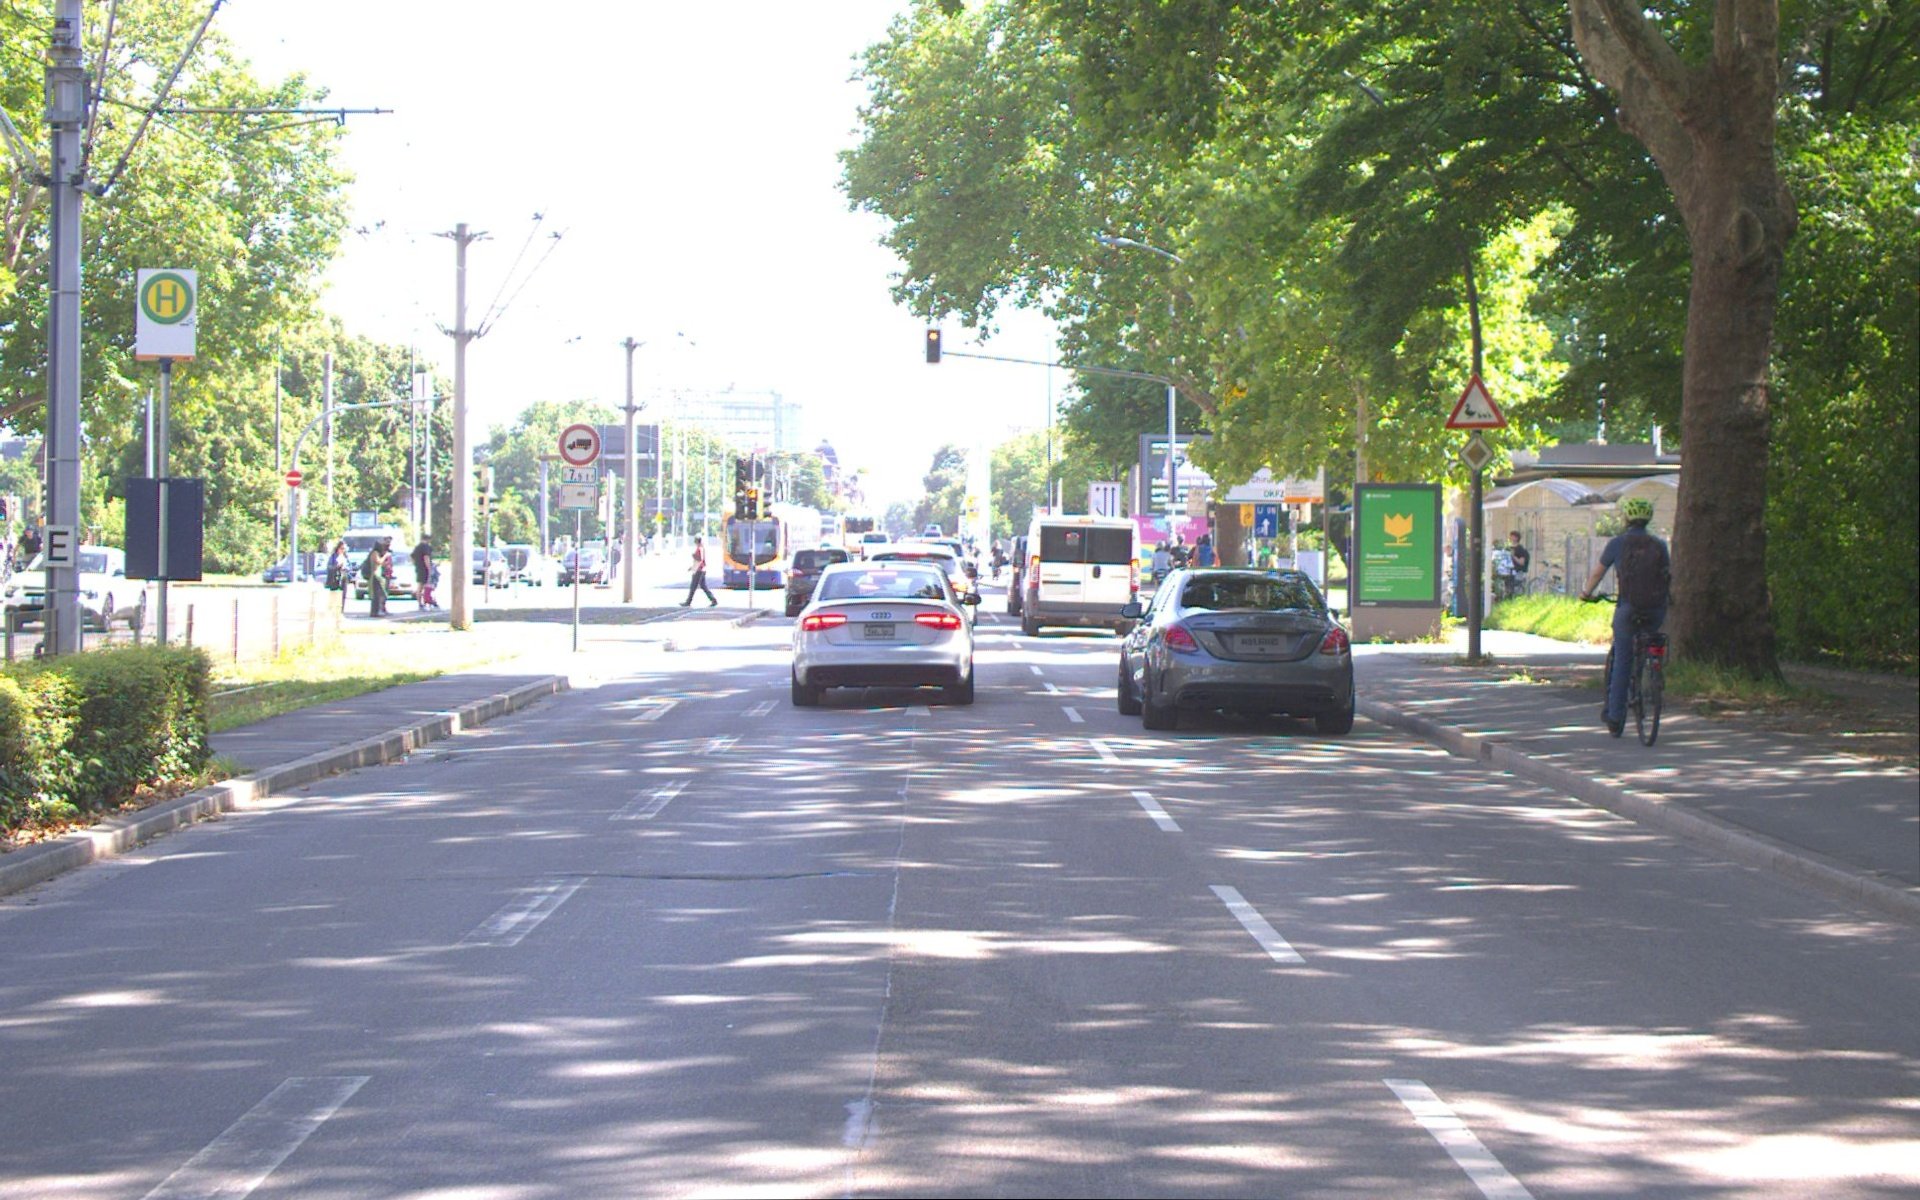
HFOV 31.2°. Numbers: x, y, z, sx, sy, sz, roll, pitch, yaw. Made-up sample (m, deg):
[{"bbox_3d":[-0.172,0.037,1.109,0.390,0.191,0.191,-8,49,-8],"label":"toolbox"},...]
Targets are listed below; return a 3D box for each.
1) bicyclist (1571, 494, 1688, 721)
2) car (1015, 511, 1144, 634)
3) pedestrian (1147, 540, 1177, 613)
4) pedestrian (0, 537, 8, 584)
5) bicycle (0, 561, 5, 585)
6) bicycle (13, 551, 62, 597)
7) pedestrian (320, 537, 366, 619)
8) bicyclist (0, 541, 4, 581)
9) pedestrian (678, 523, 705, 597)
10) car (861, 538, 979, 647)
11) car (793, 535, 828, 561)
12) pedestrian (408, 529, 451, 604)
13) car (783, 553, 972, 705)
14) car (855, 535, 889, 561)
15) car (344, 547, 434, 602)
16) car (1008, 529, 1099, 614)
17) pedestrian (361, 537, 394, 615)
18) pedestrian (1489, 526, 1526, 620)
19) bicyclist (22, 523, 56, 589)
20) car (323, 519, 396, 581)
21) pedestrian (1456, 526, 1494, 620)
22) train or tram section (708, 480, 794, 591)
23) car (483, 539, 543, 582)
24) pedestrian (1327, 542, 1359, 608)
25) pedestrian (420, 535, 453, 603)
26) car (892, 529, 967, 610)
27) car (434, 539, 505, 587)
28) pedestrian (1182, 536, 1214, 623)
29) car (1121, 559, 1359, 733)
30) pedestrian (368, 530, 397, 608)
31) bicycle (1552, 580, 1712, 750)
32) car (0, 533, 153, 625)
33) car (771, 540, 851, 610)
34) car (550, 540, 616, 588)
[{"bbox_3d":[5.014,0.041,25.777,0.634,1.642,0.979,-2,2,-1],"label":"bicyclist"},{"bbox_3d":[2.205,-0.534,64.670,2.230,2.204,4.162,1,1,0],"label":"car"},{"bbox_3d":[4.733,-0.553,80.562,0.602,1.689,0.953,-1,1,0],"label":"pedestrian"},{"bbox_3d":[-31.893,-1.303,113.648,0.622,1.537,0.782,1,1,-1],"label":"pedestrian"},{"bbox_3d":[-30.858,-0.860,110.134,0.420,0.746,1.146,1,1,-12],"label":"bicycle"},{"bbox_3d":[-22.654,-0.644,84.472,0.667,1.091,1.884,1,1,0],"label":"bicycle"},{"bbox_3d":[-12.284,-0.444,68.416,0.757,1.617,0.595,1,1,-25],"label":"pedestrian"},{"bbox_3d":[-30.835,-1.252,110.089,0.385,1.307,0.466,1,1,-12],"label":"bicyclist"},{"bbox_3d":[-7.053,-1.055,90.324,0.624,1.911,0.690,1,1,0],"label":"pedestrian"},{"bbox_3d":[-0.597,-0.142,53.355,1.729,1.599,3.885,1,1,0],"label":"car"},{"bbox_3d":[-9.389,-3.276,216.139,1.871,1.603,4.000,1,1,2],"label":"car"},{"bbox_3d":[-12.409,-0.783,80.356,0.775,1.728,0.754,1,1,9],"label":"pedestrian"},{"bbox_3d":[-0.789,0.250,34.864,1.784,1.416,3.885,1,1,0],"label":"car"},{"bbox_3d":[-5.502,-3.243,215.945,1.871,1.603,4.000,1,1,2],"label":"car"},{"bbox_3d":[-16.346,-0.745,98.506,1.796,1.483,4.385,1,1,0],"label":"car"},{"bbox_3d":[2.275,-0.702,84.403,2.072,1.992,4.058,1,1,0],"label":"car"},{"bbox_3d":[-12.461,-0.512,73.549,0.593,1.641,0.554,1,1,0],"label":"pedestrian"},{"bbox_3d":[11.113,-0.544,69.825,0.613,1.890,0.597,0,1,-3],"label":"pedestrian"},{"bbox_3d":[-22.637,-1.083,84.507,0.574,1.598,0.838,1,1,0],"label":"bicyclist"},{"bbox_3d":[-23.452,-1.960,134.319,2.114,2.374,4.000,1,1,0],"label":"car"},{"bbox_3d":[10.449,-0.548,69.770,0.613,1.890,0.694,0,1,-3],"label":"pedestrian"},{"bbox_3d":[-7.815,-2.426,129.418,2.617,4.001,7.749,1,1,0],"label":"train or tram section"},{"bbox_3d":[-17.412,-1.538,134.078,1.763,1.603,3.860,1,1,0],"label":"car"},{"bbox_3d":[10.506,-0.679,94.243,0.778,1.782,0.763,1,1,11],"label":"pedestrian"},{"bbox_3d":[-12.351,-0.730,81.081,0.537,1.592,0.577,1,1,19],"label":"pedestrian"},{"bbox_3d":[-0.722,-0.756,83.442,1.729,1.895,4.000,1,1,0],"label":"car"},{"bbox_3d":[-17.288,-1.312,121.381,1.871,1.603,4.000,1,1,0],"label":"car"},{"bbox_3d":[5.356,-0.462,77.240,0.635,1.939,0.719,1,1,0],"label":"pedestrian"},{"bbox_3d":[2.440,0.365,30.844,1.782,1.415,4.000,1,1,0],"label":"car"},{"bbox_3d":[-12.483,-0.666,74.365,0.492,1.673,0.643,1,1,0],"label":"pedestrian"},{"bbox_3d":[5.022,0.460,25.816,0.714,1.144,2.178,-2,2,-1],"label":"bicycle"},{"bbox_3d":[-15.834,-0.390,61.441,1.810,1.557,4.305,1,1,0],"label":"car"},{"bbox_3d":[-3.588,-0.625,83.214,1.729,1.625,4.000,1,1,0],"label":"car"},{"bbox_3d":[-14.229,-1.374,129.833,1.993,1.728,4.000,1,1,0],"label":"car"}]
